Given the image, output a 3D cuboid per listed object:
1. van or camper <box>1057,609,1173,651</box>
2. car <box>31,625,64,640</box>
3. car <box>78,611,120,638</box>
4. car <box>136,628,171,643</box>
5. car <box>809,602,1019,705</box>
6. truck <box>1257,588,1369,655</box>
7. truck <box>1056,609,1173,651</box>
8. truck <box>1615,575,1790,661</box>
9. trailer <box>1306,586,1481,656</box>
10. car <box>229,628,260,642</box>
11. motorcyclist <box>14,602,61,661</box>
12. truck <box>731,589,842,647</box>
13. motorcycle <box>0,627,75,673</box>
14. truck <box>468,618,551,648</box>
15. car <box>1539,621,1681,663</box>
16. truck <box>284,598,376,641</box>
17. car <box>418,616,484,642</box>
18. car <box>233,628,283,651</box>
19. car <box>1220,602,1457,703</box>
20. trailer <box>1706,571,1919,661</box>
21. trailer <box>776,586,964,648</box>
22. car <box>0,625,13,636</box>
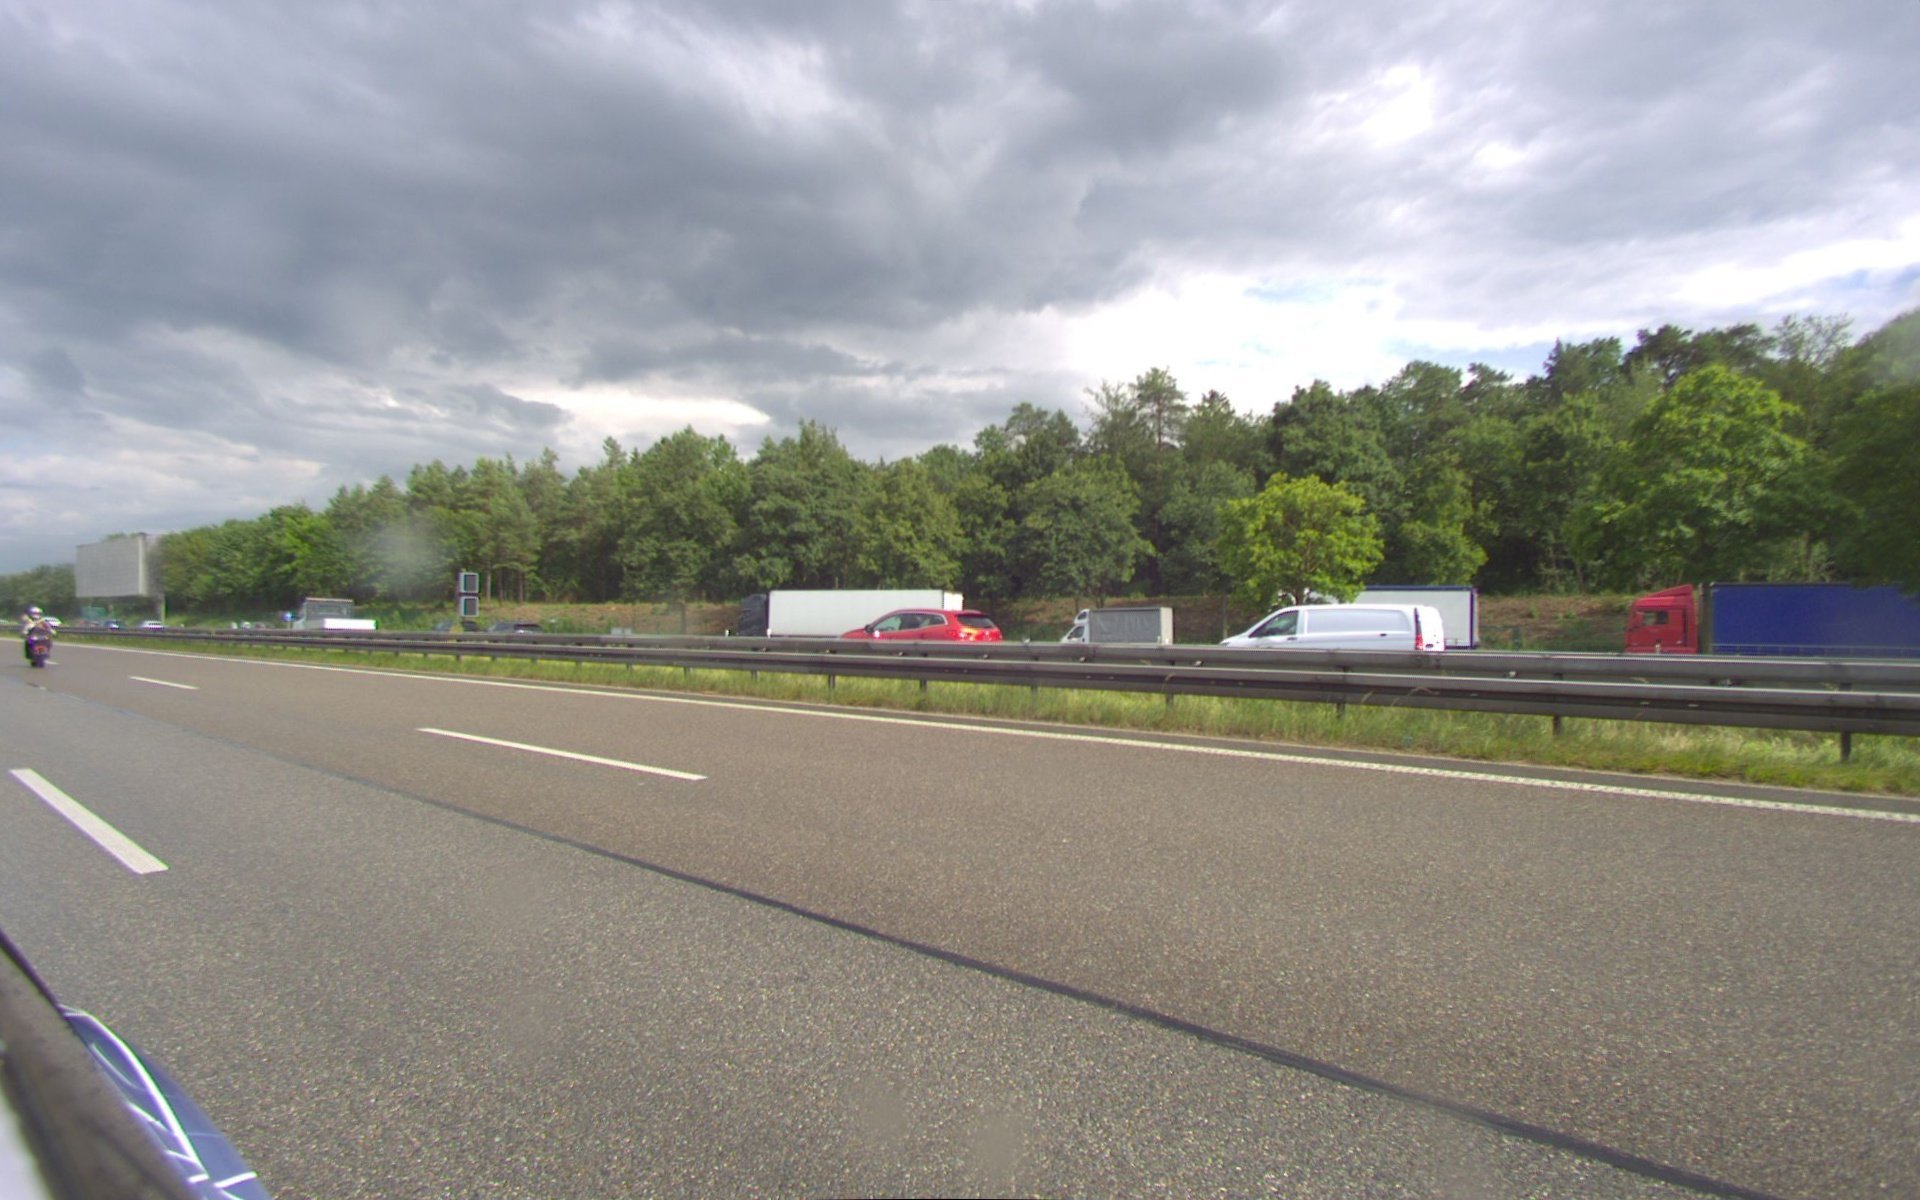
[{"bbox_3d":[8.876,1.718,58.136,6.295,2.282,2.104,-1,0,29],"label":"van or camper"},{"bbox_3d":[-93.449,3.289,103.637,5.419,1.403,1.879,-1,0,42],"label":"car"},{"bbox_3d":[-106.177,2.980,124.812,7.341,3.133,2.913,-1,0,41],"label":"car"},{"bbox_3d":[-84.394,3.656,105.882,5.157,1.403,1.953,-1,0,42],"label":"car"},{"bbox_3d":[-1.127,1.103,22.678,4.777,2.060,1.811,-1,0,42],"label":"car"},{"bbox_3d":[18.228,1.092,52.295,5.068,3.292,2.635,-1,0,31],"label":"truck"},{"bbox_3d":[8.844,1.718,58.149,6.290,2.282,2.104,-1,0,29],"label":"truck"},{"bbox_3d":[31.861,0.752,43.745,5.882,3.482,2.836,-1,0,34],"label":"truck"},{"bbox_3d":[21.493,1.038,50.354,7.715,3.257,2.559,-1,-1,32],"label":"trailer"},{"bbox_3d":[-59.428,2.857,84.064,3.114,1.065,1.430,-1,0,41],"label":"car"},{"bbox_3d":[-27.401,0.920,30.056,1.000,1.719,0.872,-1,0,39],"label":"motorcyclist"},{"bbox_3d":[-11.808,1.190,68.704,6.883,3.732,3.188,-1,0,27],"label":"truck"},{"bbox_3d":[-27.477,1.453,30.123,3.191,1.235,1.173,-1,0,39],"label":"motorcycle"},{"bbox_3d":[-19.994,1.434,44.820,3.998,1.203,1.868,-1,0,41],"label":"truck"},{"bbox_3d":[33.830,2.127,52.837,6.115,2.029,1.978,-1,0,33],"label":"car"},{"bbox_3d":[-29.947,0.883,48.026,5.444,1.909,2.233,-1,0,41],"label":"truck"},{"bbox_3d":[-29.022,1.634,57.643,4.432,1.403,1.811,-1,0,41],"label":"car"},{"bbox_3d":[-48.288,2.707,69.546,4.432,1.403,1.811,-1,0,41],"label":"car"},{"bbox_3d":[8.614,1.109,23.291,4.777,2.060,1.811,-1,0,42],"label":"car"},{"bbox_3d":[37.670,0.638,39.675,13.393,3.431,2.799,-1,-2,35],"label":"trailer"},{"bbox_3d":[-5.996,1.131,65.666,12.510,3.767,3.184,-1,-1,28],"label":"trailer"},{"bbox_3d":[-122.346,3.886,129.011,5.419,1.403,1.879,-1,0,42],"label":"car"}]
